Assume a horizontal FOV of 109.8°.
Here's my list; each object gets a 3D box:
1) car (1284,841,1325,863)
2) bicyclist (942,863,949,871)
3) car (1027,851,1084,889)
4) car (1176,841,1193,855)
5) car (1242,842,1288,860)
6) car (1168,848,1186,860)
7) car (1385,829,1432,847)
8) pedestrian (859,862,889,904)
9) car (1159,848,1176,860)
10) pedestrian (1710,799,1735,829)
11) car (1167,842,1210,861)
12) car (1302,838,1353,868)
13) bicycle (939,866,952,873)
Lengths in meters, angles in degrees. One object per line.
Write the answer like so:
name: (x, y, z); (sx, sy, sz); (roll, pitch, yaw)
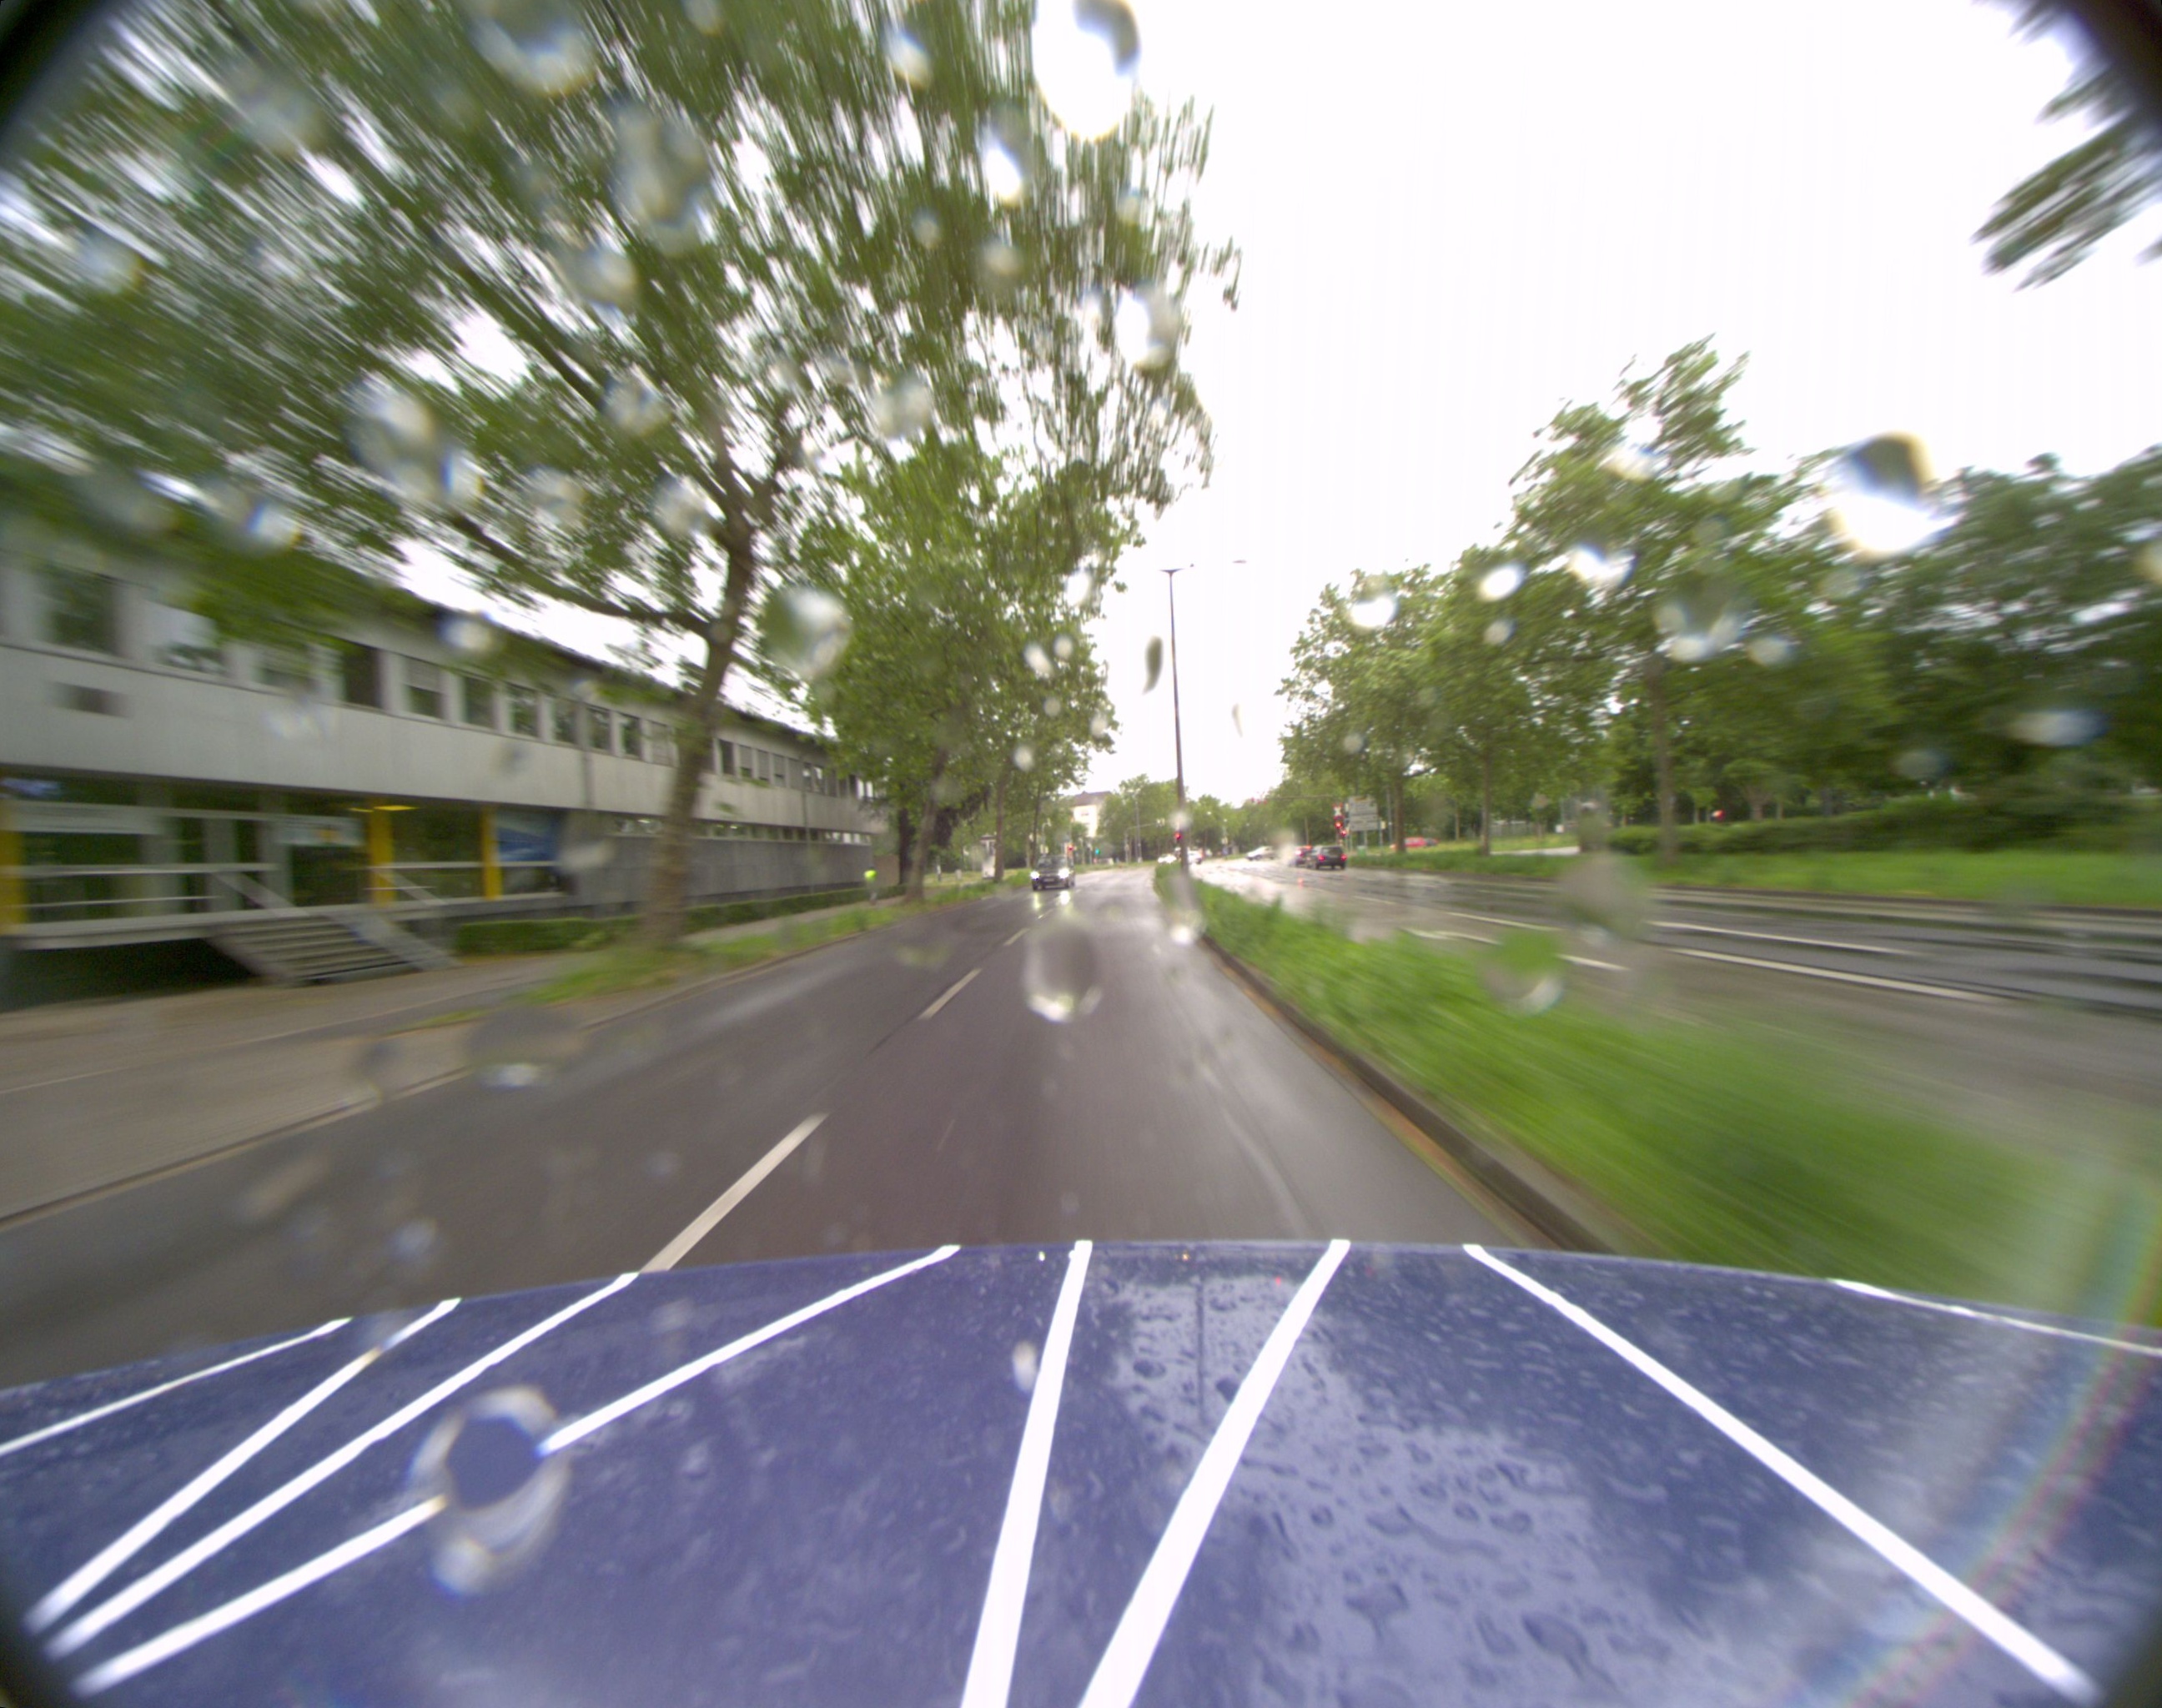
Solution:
car: (16.002, -0.145, 54.621); (1.998, 1.366, 4.333); (-4, 0, 5)
bicyclist: (-20.495, 2.031, 114.863); (0.742, 1.138, 0.684); (-3, 1, 32)
car: (-1.186, 0.750, 38.388); (1.998, 1.585, 5.592); (-4, 0, 6)
car: (17.025, -0.959, 124.977); (1.996, 2.095, 5.149); (-4, 0, 16)
car: (20.333, -0.305, 84.107); (4.505, 1.620, 1.998); (-4, 1, -14)
car: (14.999, -0.018, 118.652); (1.996, 1.620, 4.527); (-4, 0, 17)
car: (35.549, -1.770, 82.489); (4.512, 1.620, 2.003); (-4, 1, 23)
pedestrian: (-8.612, 1.203, 31.633); (0.832, 1.685, 0.900); (-4, 1, 9)
car: (12.620, -0.024, 110.825); (1.997, 1.620, 4.525); (-4, 0, 11)
pedestrian: (45.888, -2.842, 54.399); (0.898, 2.002, 1.020); (-4, 1, 10)
car: (10.929, -0.296, 77.056); (1.995, 1.620, 4.530); (-3, 1, 44)
car: (15.122, -0.097, 46.785); (1.998, 1.622, 4.333); (-4, 0, 5)
bicycle: (-20.502, 2.357, 114.898); (1.860, 0.880, 0.684); (-4, 1, 32)
